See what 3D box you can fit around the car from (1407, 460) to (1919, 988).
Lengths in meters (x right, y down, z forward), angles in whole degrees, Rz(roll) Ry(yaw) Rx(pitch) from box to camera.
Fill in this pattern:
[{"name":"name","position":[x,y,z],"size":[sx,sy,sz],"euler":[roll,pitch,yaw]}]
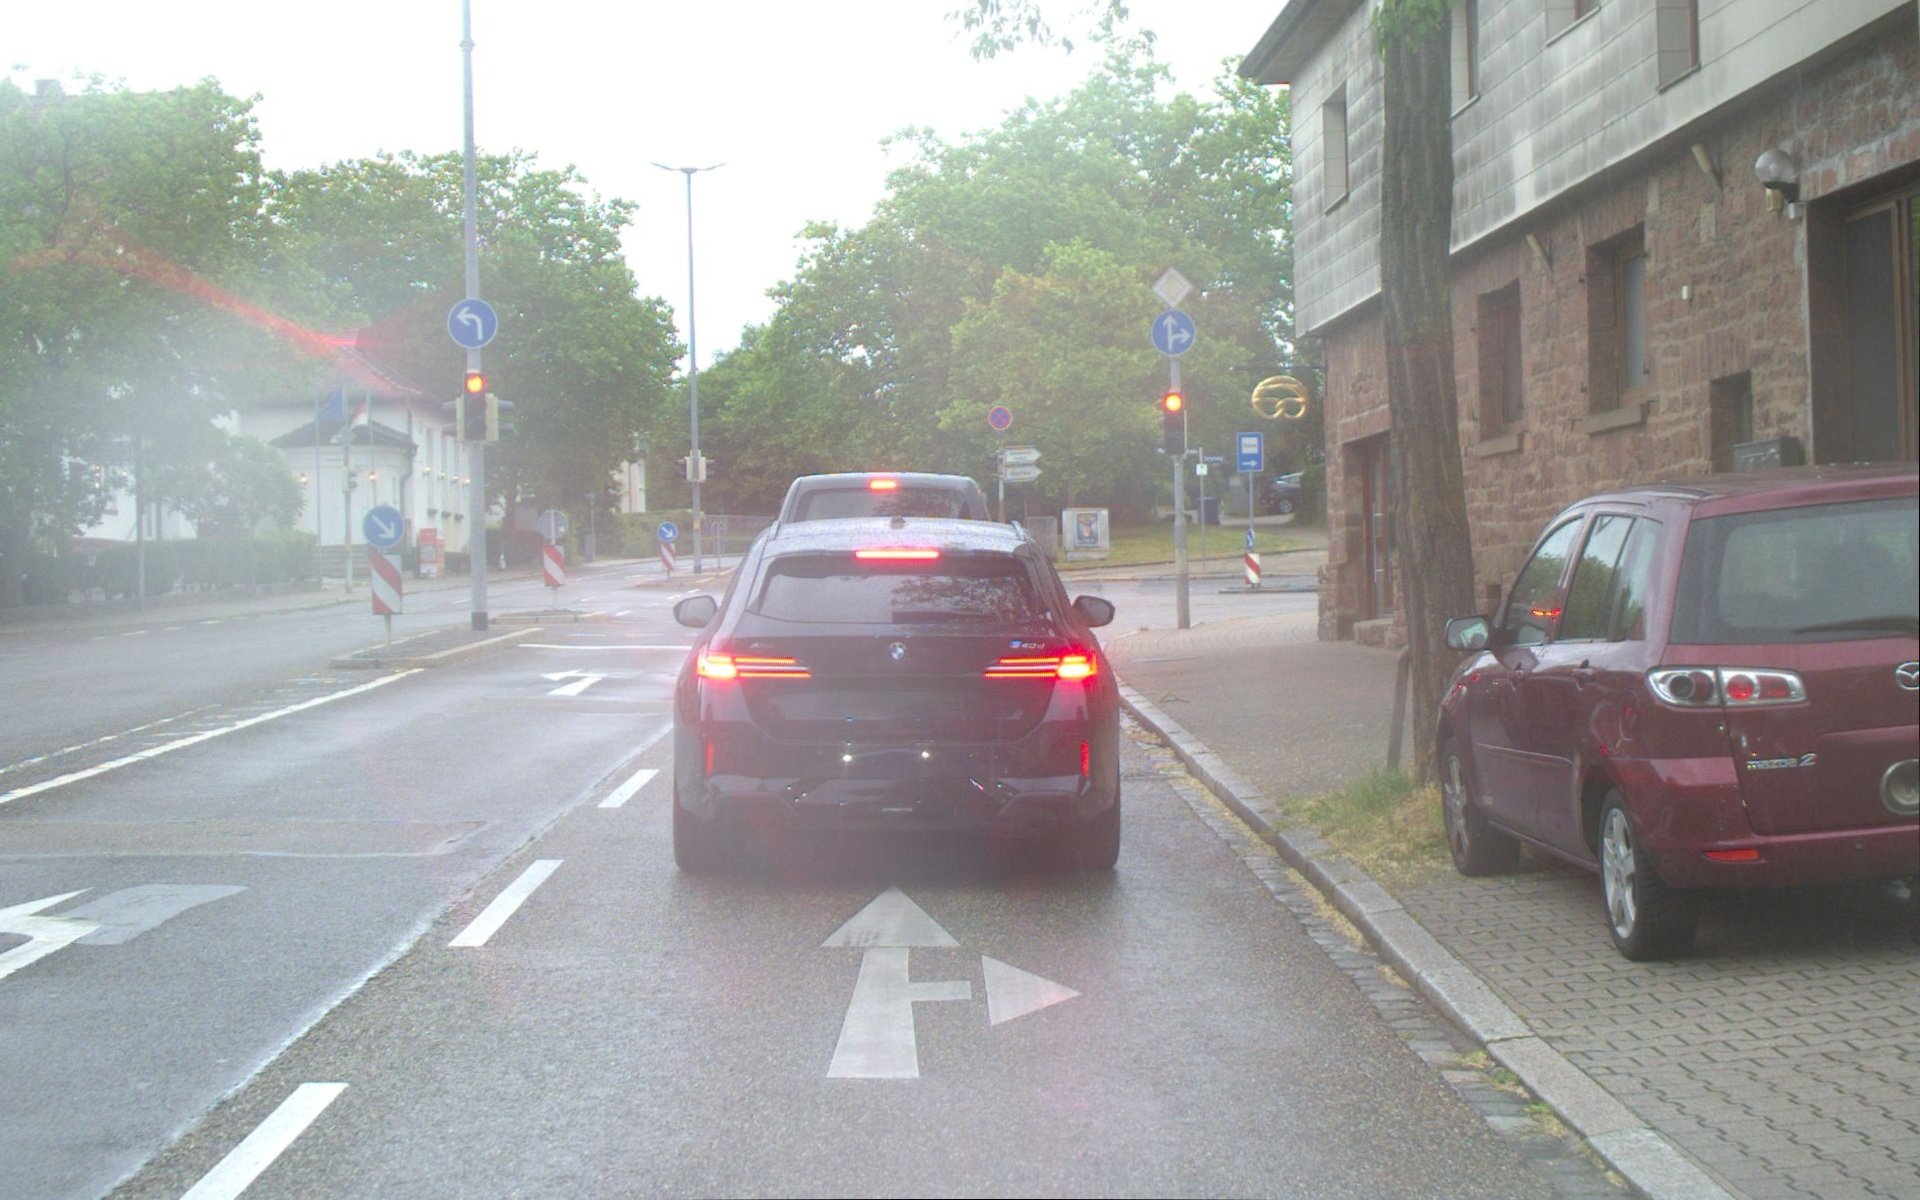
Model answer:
[{"name":"car","position":[2.723,0.302,12.080],"size":[1.583,1.485,3.628],"euler":[-4,2,-3]}]

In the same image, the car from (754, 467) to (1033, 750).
[{"name":"car","position":[-0.508,-0.001,24.217],"size":[1.783,1.811,4.001],"euler":[-1,2,-2]}]

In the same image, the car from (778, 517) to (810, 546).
[{"name":"car","position":[-8.222,-3.407,170.647],"size":[1.464,1.393,3.322],"euler":[-1,2,-1]}]

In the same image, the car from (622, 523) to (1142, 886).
[{"name":"car","position":[-0.414,0.369,15.917],"size":[2.064,1.441,4.484],"euler":[0,1,-3]}]
